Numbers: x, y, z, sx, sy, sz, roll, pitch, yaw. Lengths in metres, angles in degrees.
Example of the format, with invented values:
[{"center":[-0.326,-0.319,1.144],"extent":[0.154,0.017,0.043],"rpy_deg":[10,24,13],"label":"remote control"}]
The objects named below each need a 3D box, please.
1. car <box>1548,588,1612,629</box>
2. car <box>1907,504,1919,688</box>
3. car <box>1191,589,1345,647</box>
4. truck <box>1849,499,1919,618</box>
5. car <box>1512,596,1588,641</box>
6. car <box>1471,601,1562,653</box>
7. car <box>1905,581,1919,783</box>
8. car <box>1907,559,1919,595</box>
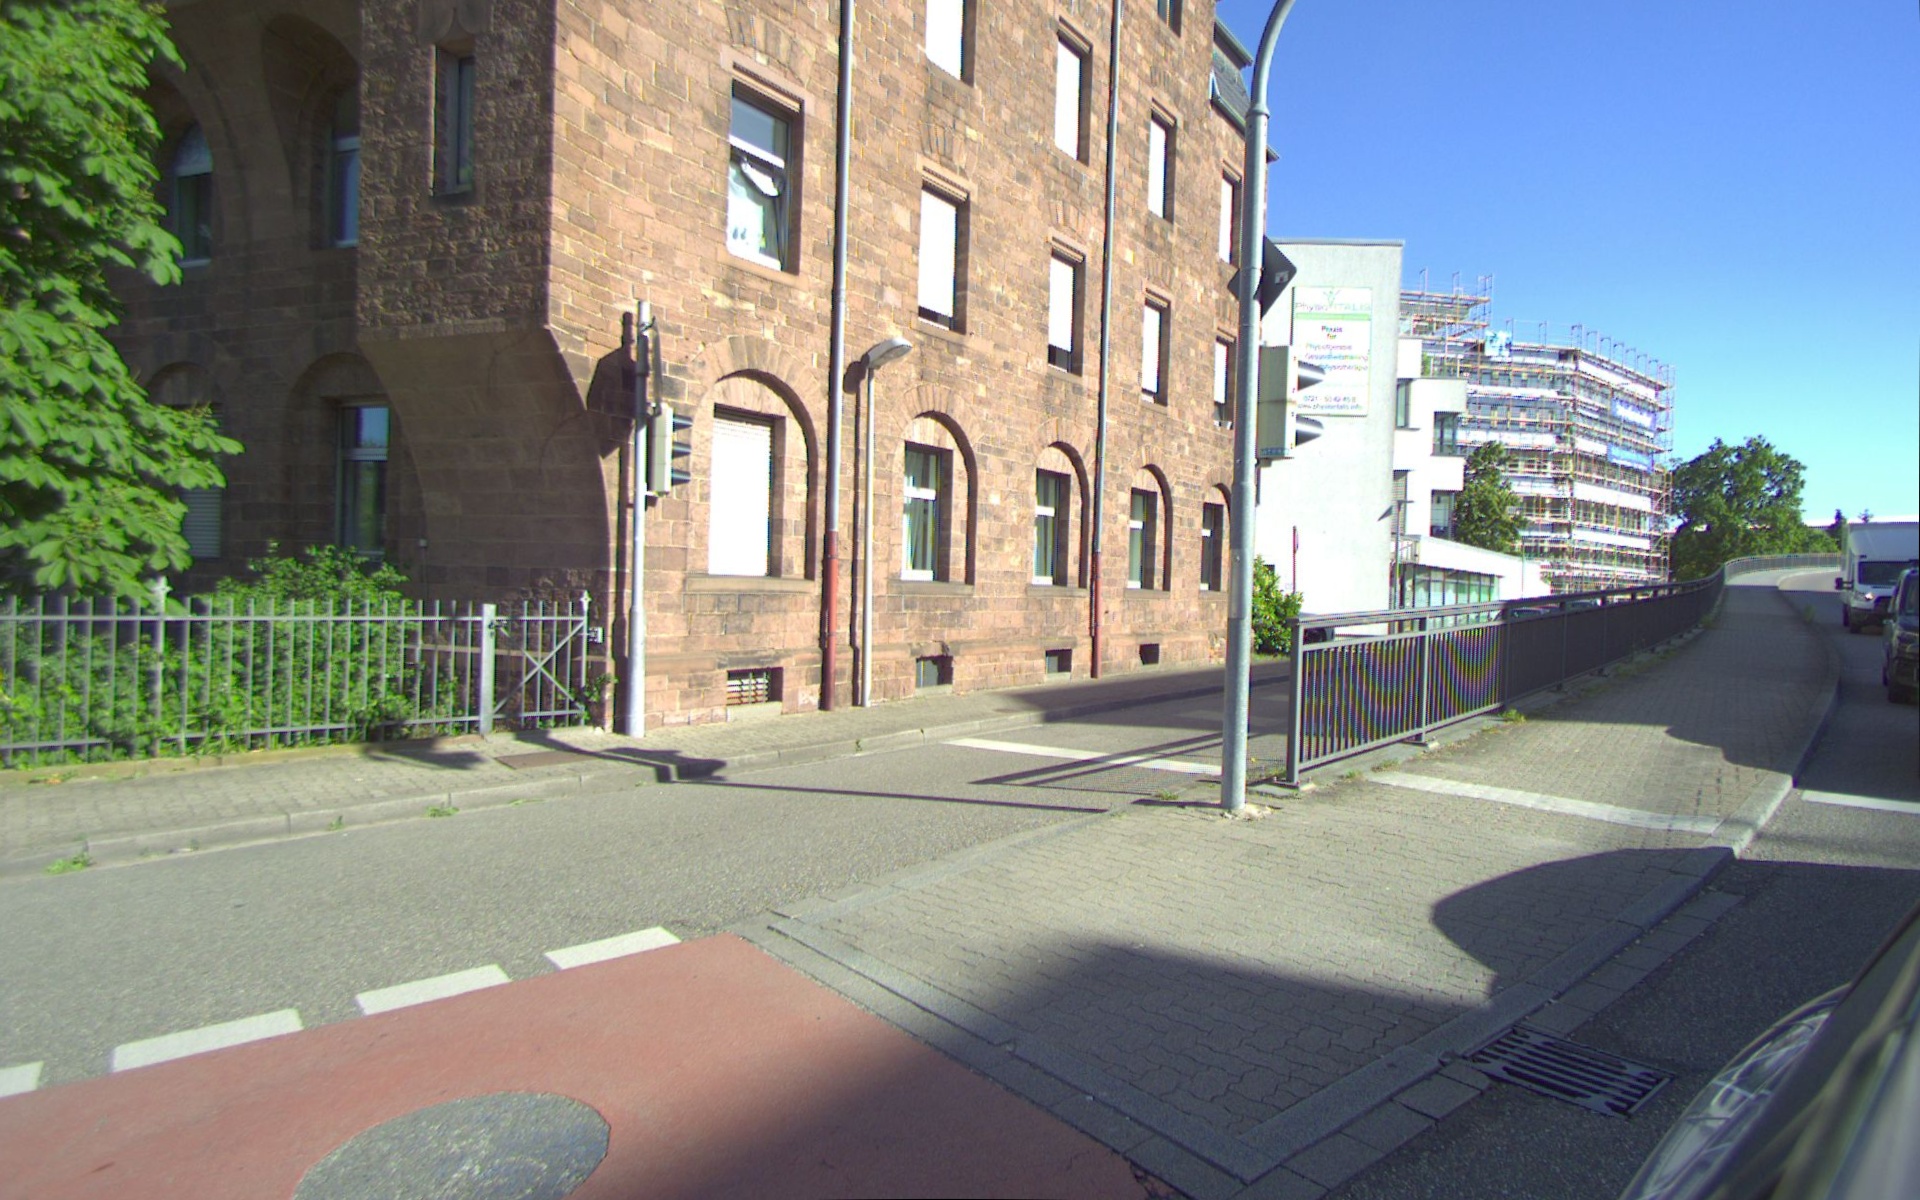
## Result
[{"center":[27.601,0.376,45.030],"extent":[2.043,1.707,4.037],"rpy_deg":[2,0,37],"label":"car"},{"center":[14.153,0.009,13.634],"extent":[1.945,2.290,4.710],"rpy_deg":[2,1,43],"label":"car"},{"center":[9.103,0.511,30.174],"extent":[4.020,1.551,1.917],"rpy_deg":[2,0,5],"label":"car"},{"center":[27.711,-1.082,29.590],"extent":[2.495,3.167,6.855],"rpy_deg":[2,1,41],"label":"truck"},{"center":[22.642,0.684,38.756],"extent":[2.043,1.551,4.037],"rpy_deg":[2,0,37],"label":"car"},{"center":[18.573,0.865,33.704],"extent":[2.043,1.551,4.036],"rpy_deg":[2,0,38],"label":"car"},{"center":[9.274,0.624,8.487],"extent":[1.875,1.489,4.562],"rpy_deg":[3,2,44],"label":"car"},{"center":[48.941,-1.112,50.683],"extent":[1.829,1.777,4.426],"rpy_deg":[2,2,39],"label":"car"}]
